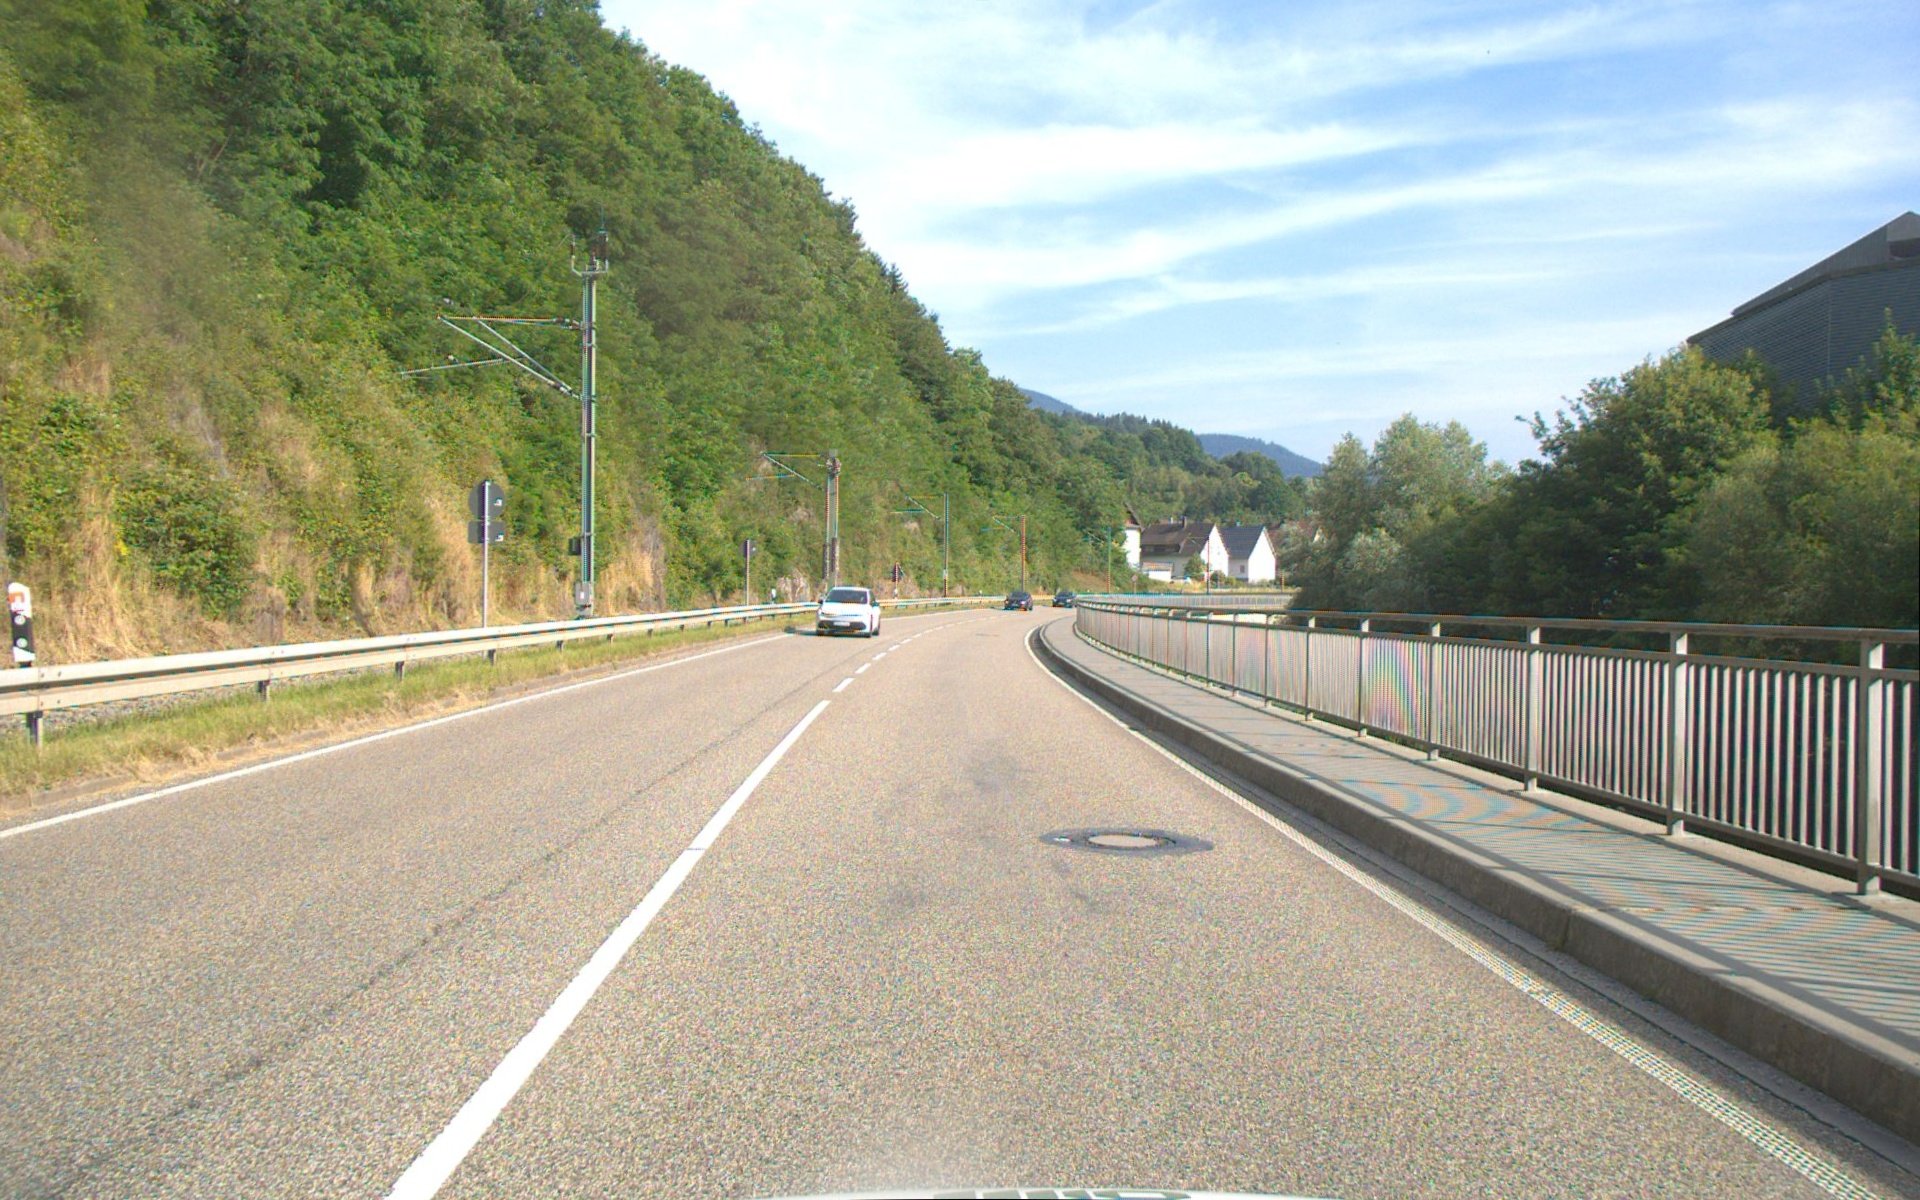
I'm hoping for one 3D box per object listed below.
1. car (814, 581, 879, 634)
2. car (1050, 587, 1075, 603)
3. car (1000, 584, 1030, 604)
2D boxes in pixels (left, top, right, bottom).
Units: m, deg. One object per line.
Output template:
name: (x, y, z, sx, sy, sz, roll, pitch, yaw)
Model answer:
car: (-3.608, 0.210, 53.371, 1.809, 1.571, 4.603, 2, 0, -1)
car: (9.341, -0.484, 150.026, 1.808, 1.426, 4.480, 1, 0, 9)
car: (4.243, -0.468, 127.034, 1.808, 1.465, 3.901, -1, 1, 9)
